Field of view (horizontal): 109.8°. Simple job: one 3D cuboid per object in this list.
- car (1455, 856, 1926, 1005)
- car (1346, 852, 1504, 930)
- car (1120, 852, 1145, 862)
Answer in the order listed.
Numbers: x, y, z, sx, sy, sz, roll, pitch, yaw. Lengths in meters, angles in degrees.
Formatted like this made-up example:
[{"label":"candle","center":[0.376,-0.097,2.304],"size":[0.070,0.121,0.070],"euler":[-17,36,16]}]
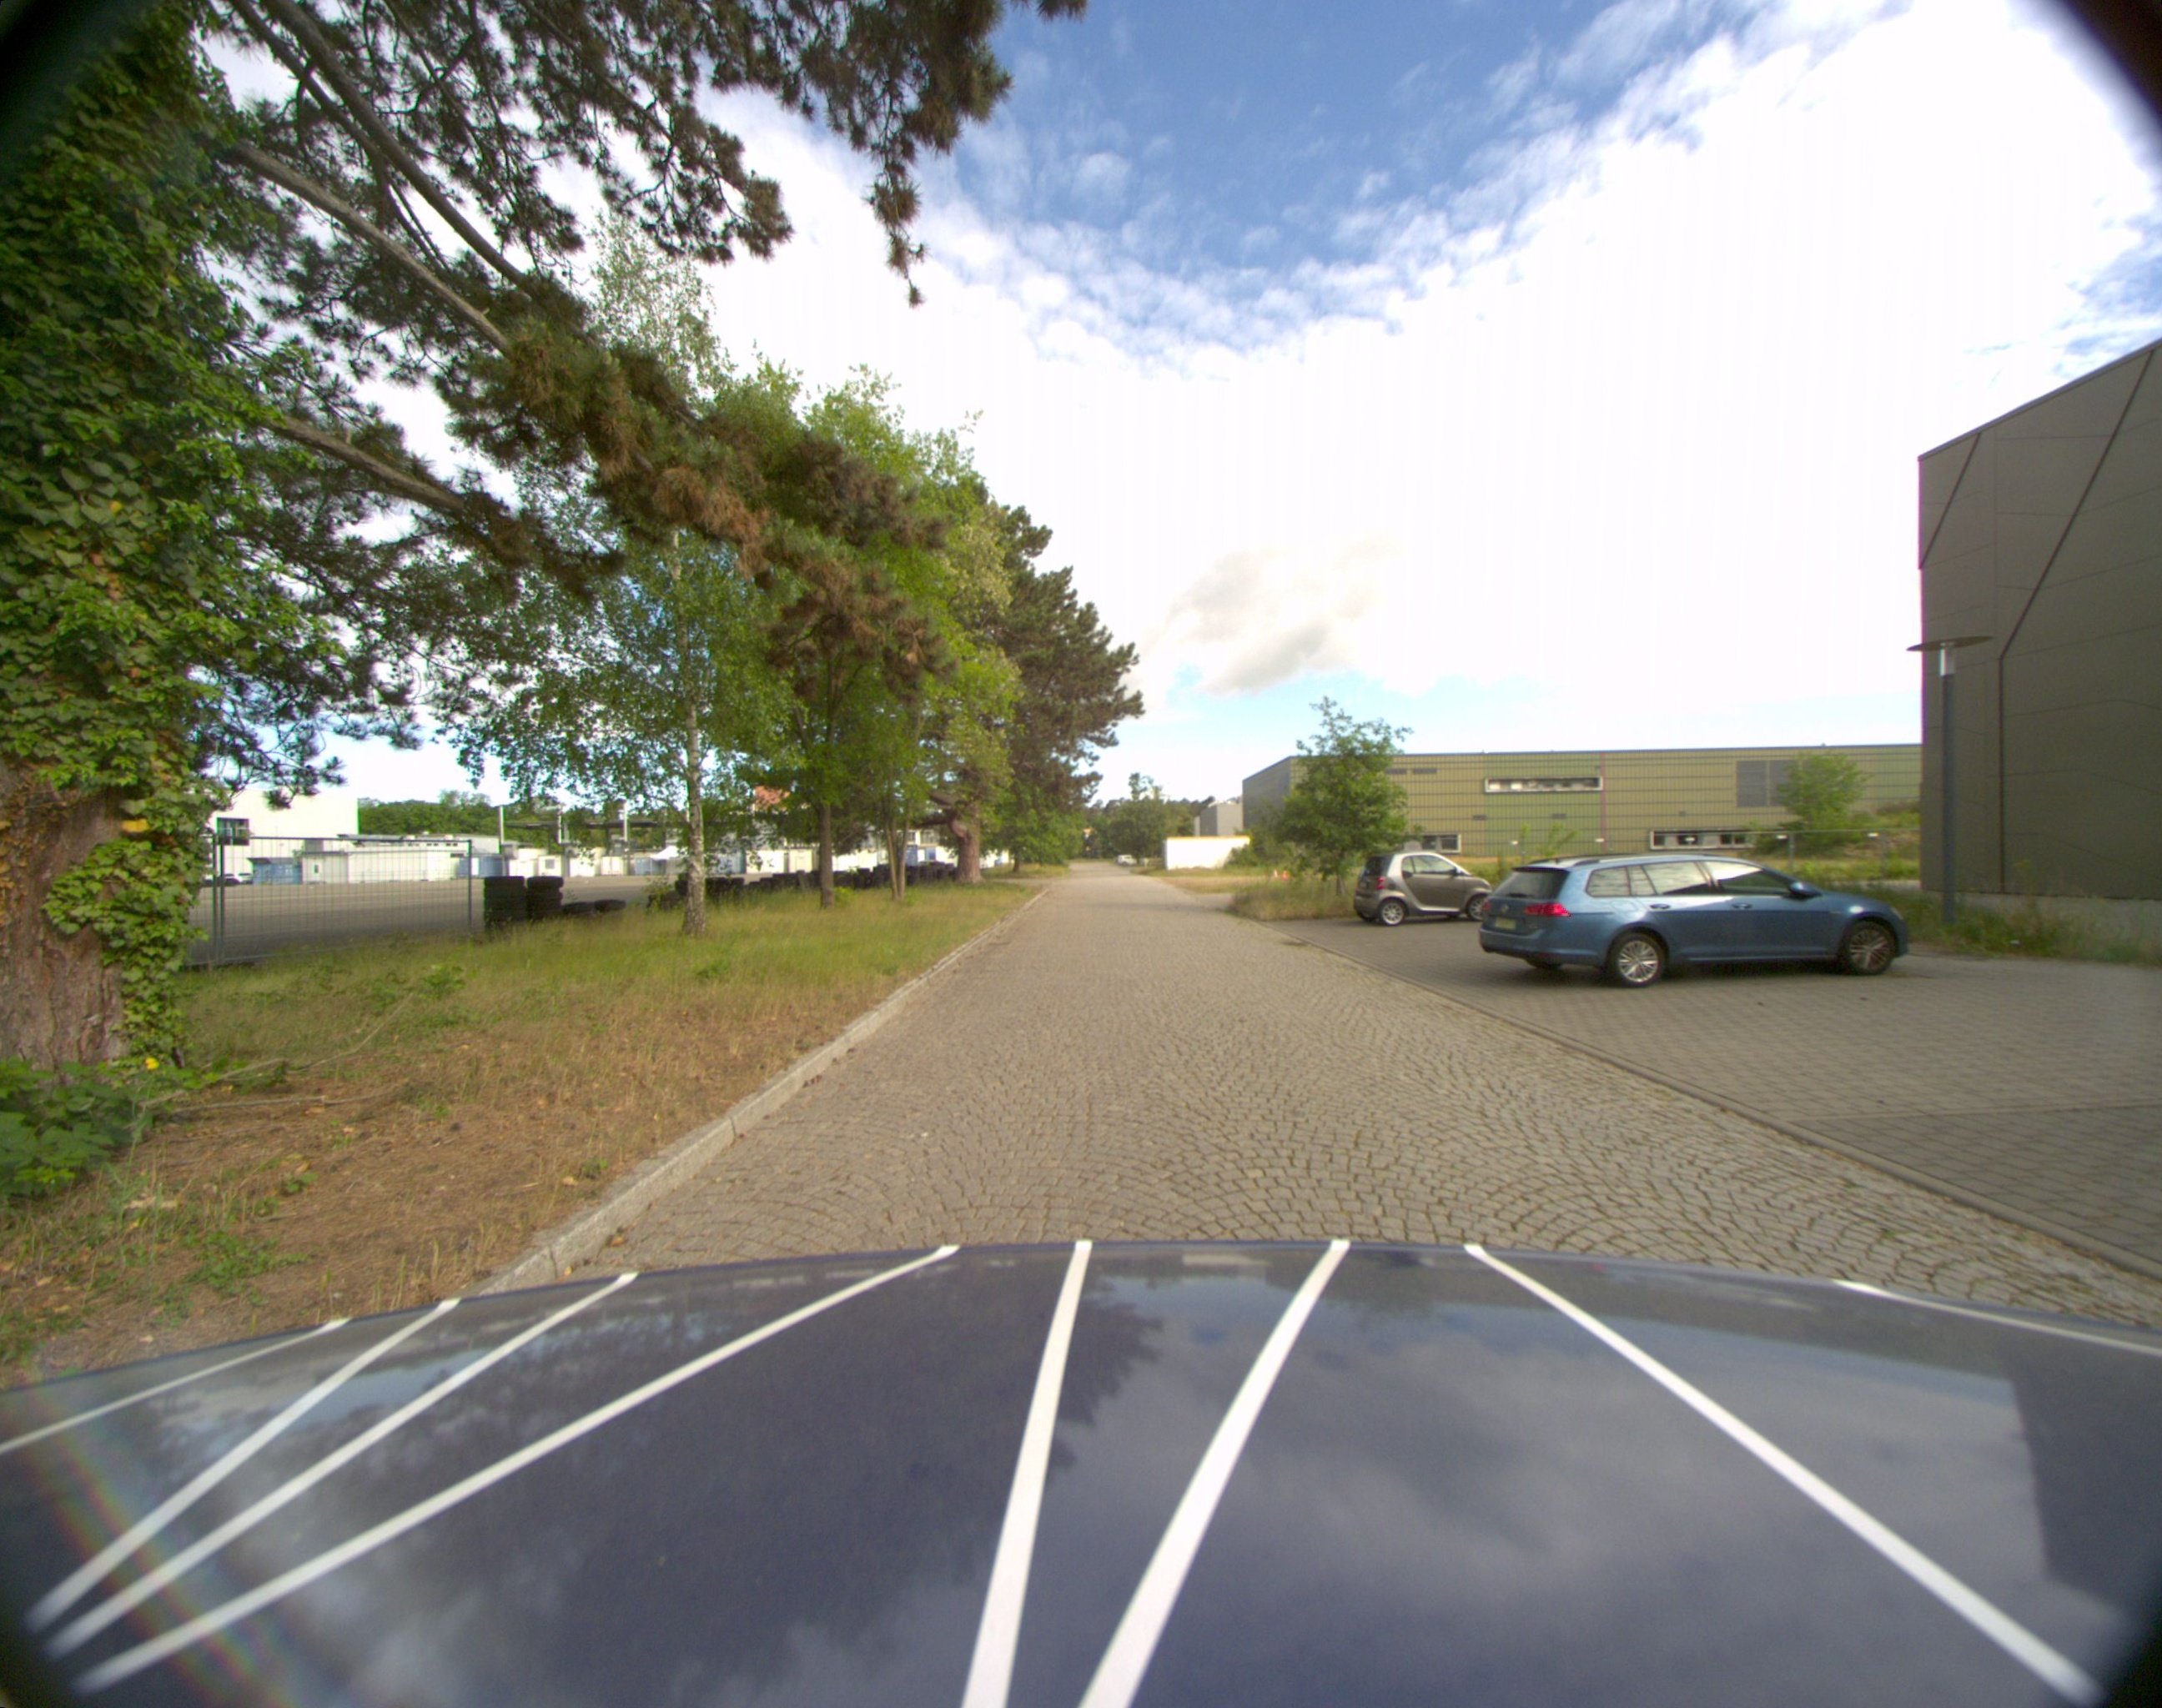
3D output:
[{"label":"car","center":[7.136,0.832,9.200],"size":[4.317,1.420,1.773],"euler":[-2,0,-2]},{"label":"car","center":[7.389,0.765,16.521],"size":[2.661,1.502,1.610],"euler":[-2,0,0]},{"label":"car","center":[8.364,0.440,123.744],"size":[3.996,1.604,1.797],"euler":[-1,0,4]}]
